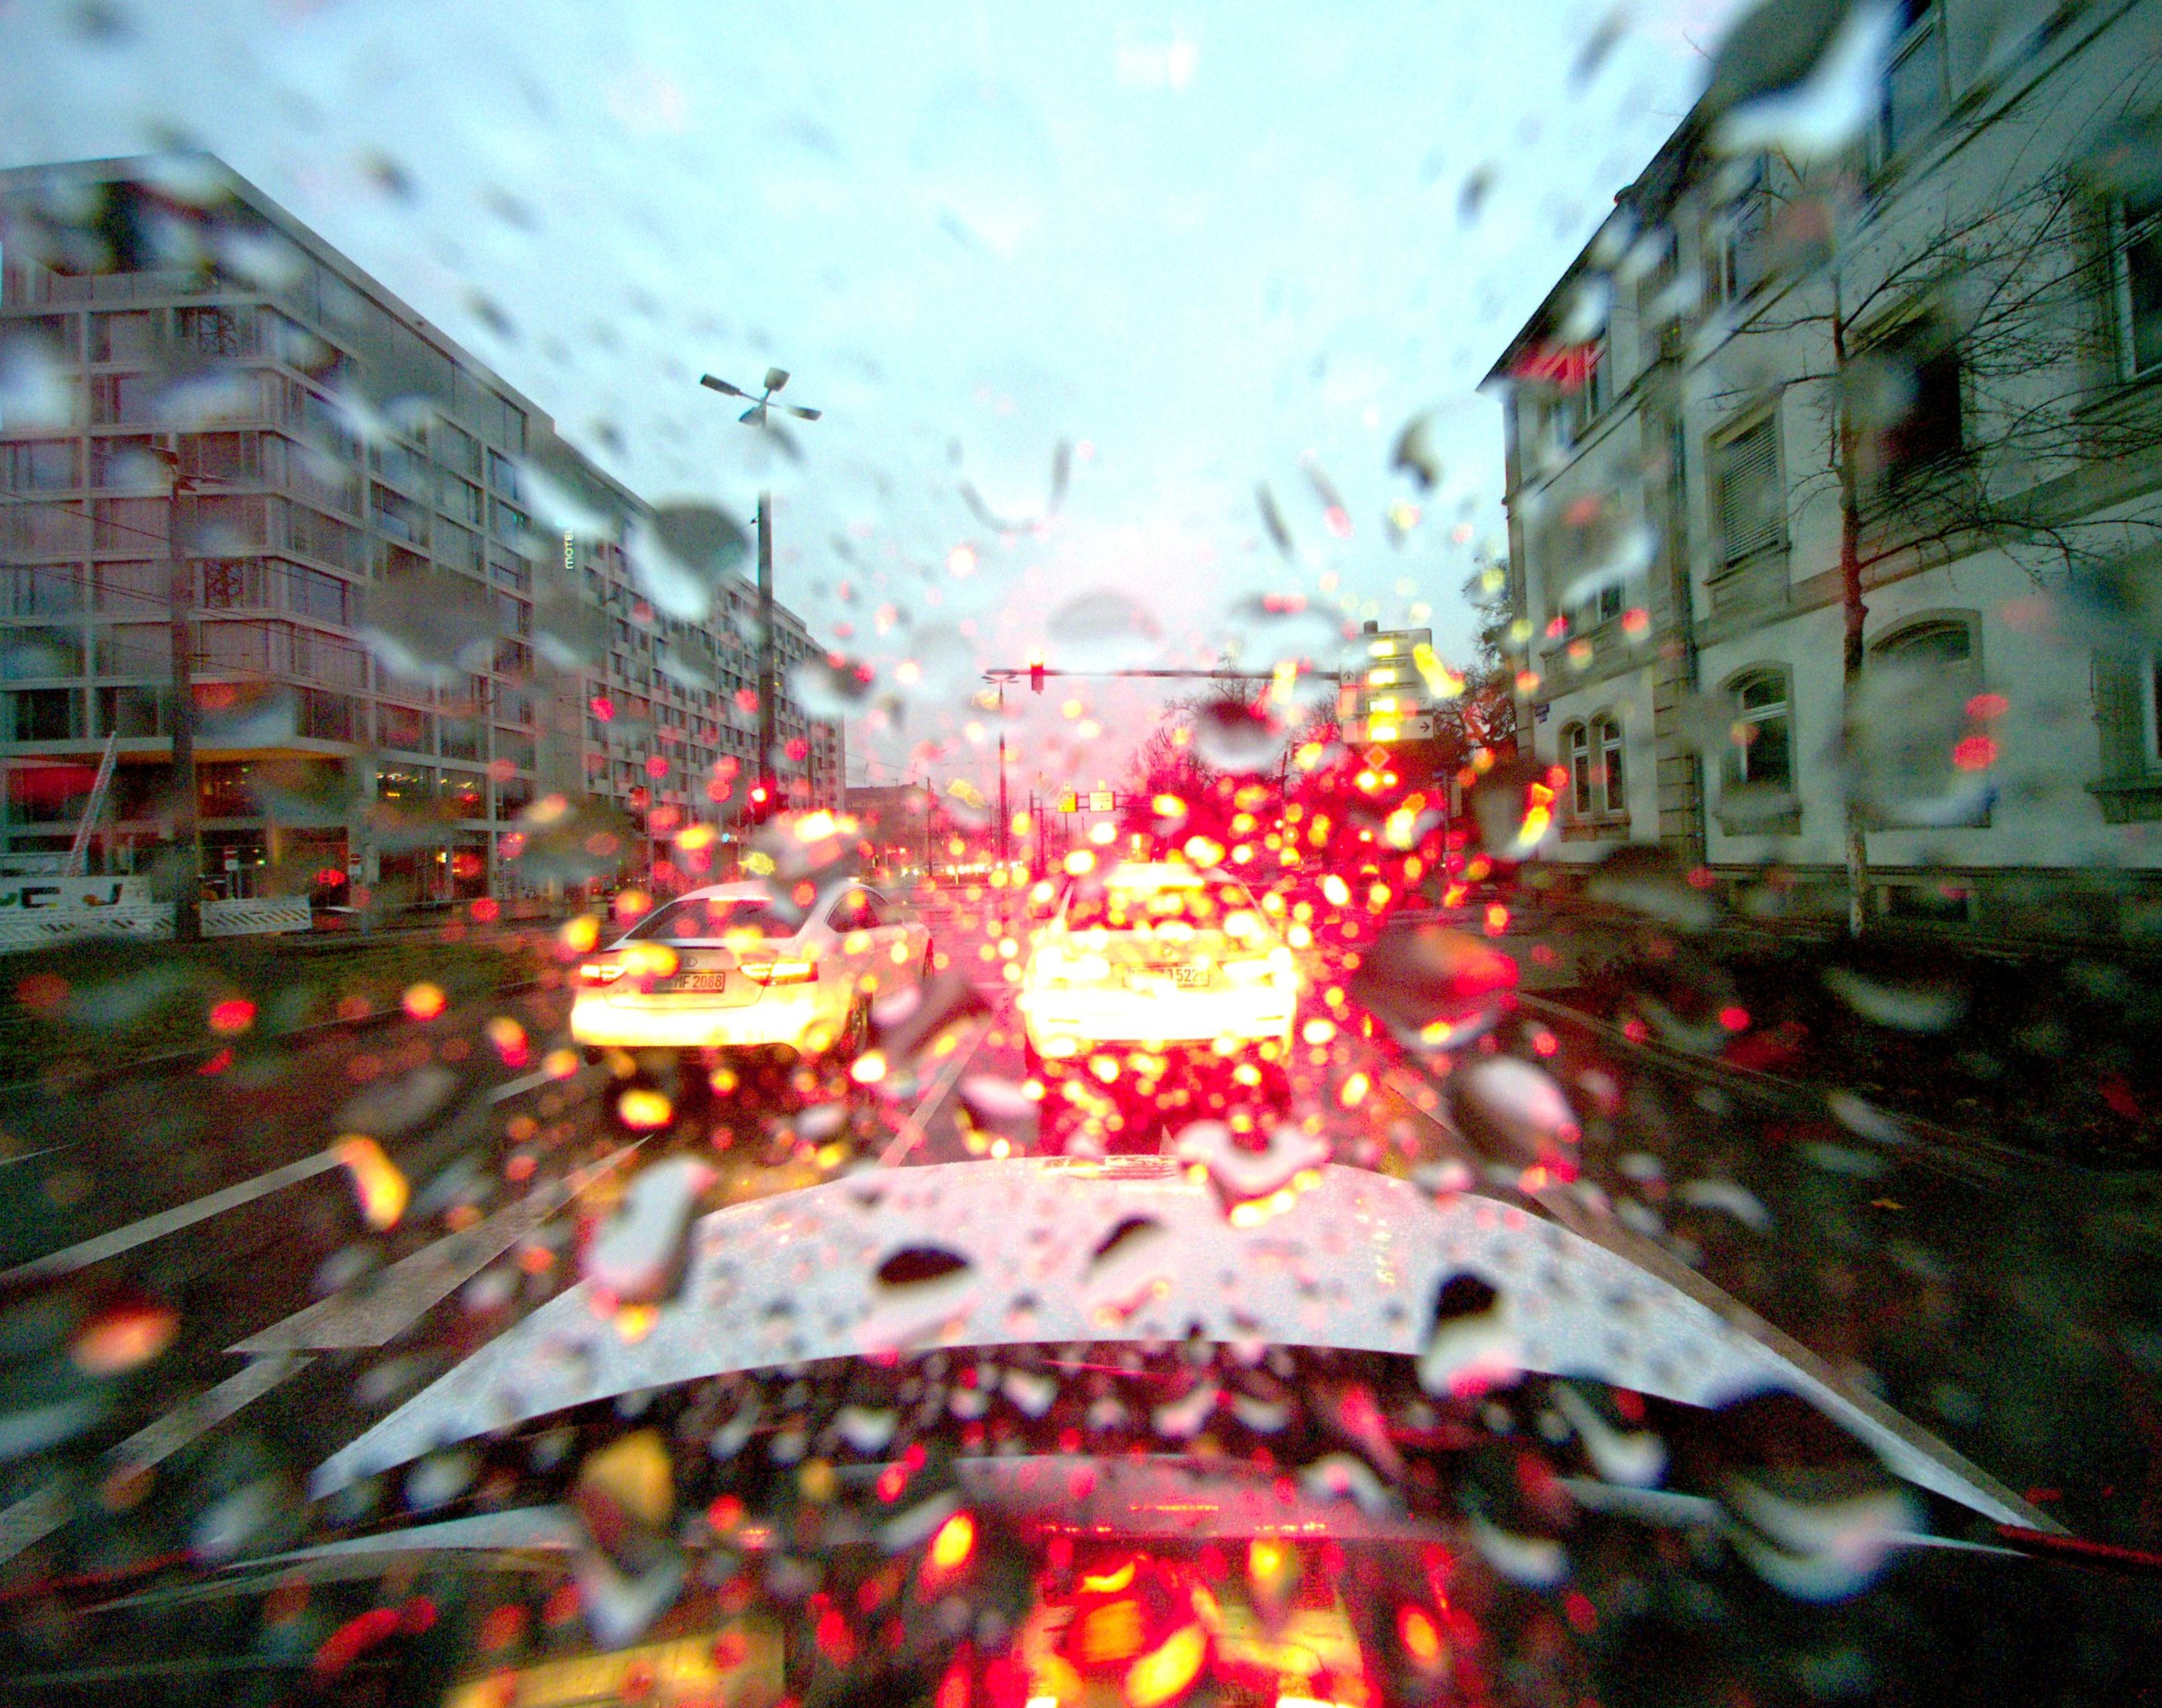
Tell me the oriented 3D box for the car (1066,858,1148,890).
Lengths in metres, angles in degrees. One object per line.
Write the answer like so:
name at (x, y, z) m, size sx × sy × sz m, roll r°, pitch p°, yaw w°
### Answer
car at (1.284, 0.992, 40.913) m, size 3.917 × 1.554 × 1.760 m, roll -1°, pitch -1°, yaw 41°

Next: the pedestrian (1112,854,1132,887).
pedestrian at (2.370, 0.931, 46.580) m, size 0.894 × 1.856 × 0.817 m, roll -1°, pitch -1°, yaw 26°

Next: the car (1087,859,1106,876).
car at (1.510, 1.285, 79.289) m, size 1.836 × 1.609 × 3.945 m, roll 0°, pitch -1°, yaw 1°

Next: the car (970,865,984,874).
car at (-16.608, 2.506, 130.590) m, size 1.669 × 1.508 × 3.697 m, roll 0°, pitch -1°, yaw 1°

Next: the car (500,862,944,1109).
car at (-2.594, 0.837, 7.244) m, size 1.987 × 1.456 × 4.367 m, roll -1°, pitch 0°, yaw 0°

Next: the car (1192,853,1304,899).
car at (6.152, 0.802, 30.055) m, size 3.960 × 1.622 × 1.725 m, roll 0°, pitch -1°, yaw 12°

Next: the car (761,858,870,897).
car at (-10.304, 0.919, 31.810) m, size 3.676 × 1.478 × 1.628 m, roll 0°, pitch -1°, yaw -1°

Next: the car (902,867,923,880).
car at (-20.126, 2.333, 97.365) m, size 1.669 × 1.508 × 3.697 m, roll 0°, pitch -1°, yaw 1°

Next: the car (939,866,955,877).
car at (-19.365, 2.557, 117.808) m, size 1.669 × 1.508 × 3.697 m, roll 0°, pitch -1°, yaw 1°

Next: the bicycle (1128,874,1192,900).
bicycle at (3.412, 1.396, 35.069) m, size 2.650 × 1.089 × 0.817 m, roll 0°, pitch -1°, yaw 10°

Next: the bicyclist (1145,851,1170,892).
bicyclist at (3.307, 0.745, 35.098) m, size 0.966 × 1.759 × 0.815 m, roll 0°, pitch -1°, yaw 10°

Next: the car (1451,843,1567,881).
car at (16.861, 0.325, 32.244) m, size 3.950 × 1.402 × 1.767 m, roll 0°, pitch -1°, yaw 25°

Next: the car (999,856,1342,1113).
car at (0.529, 0.768, 6.950) m, size 1.987 × 1.456 × 4.367 m, roll -1°, pitch 0°, yaw 0°
